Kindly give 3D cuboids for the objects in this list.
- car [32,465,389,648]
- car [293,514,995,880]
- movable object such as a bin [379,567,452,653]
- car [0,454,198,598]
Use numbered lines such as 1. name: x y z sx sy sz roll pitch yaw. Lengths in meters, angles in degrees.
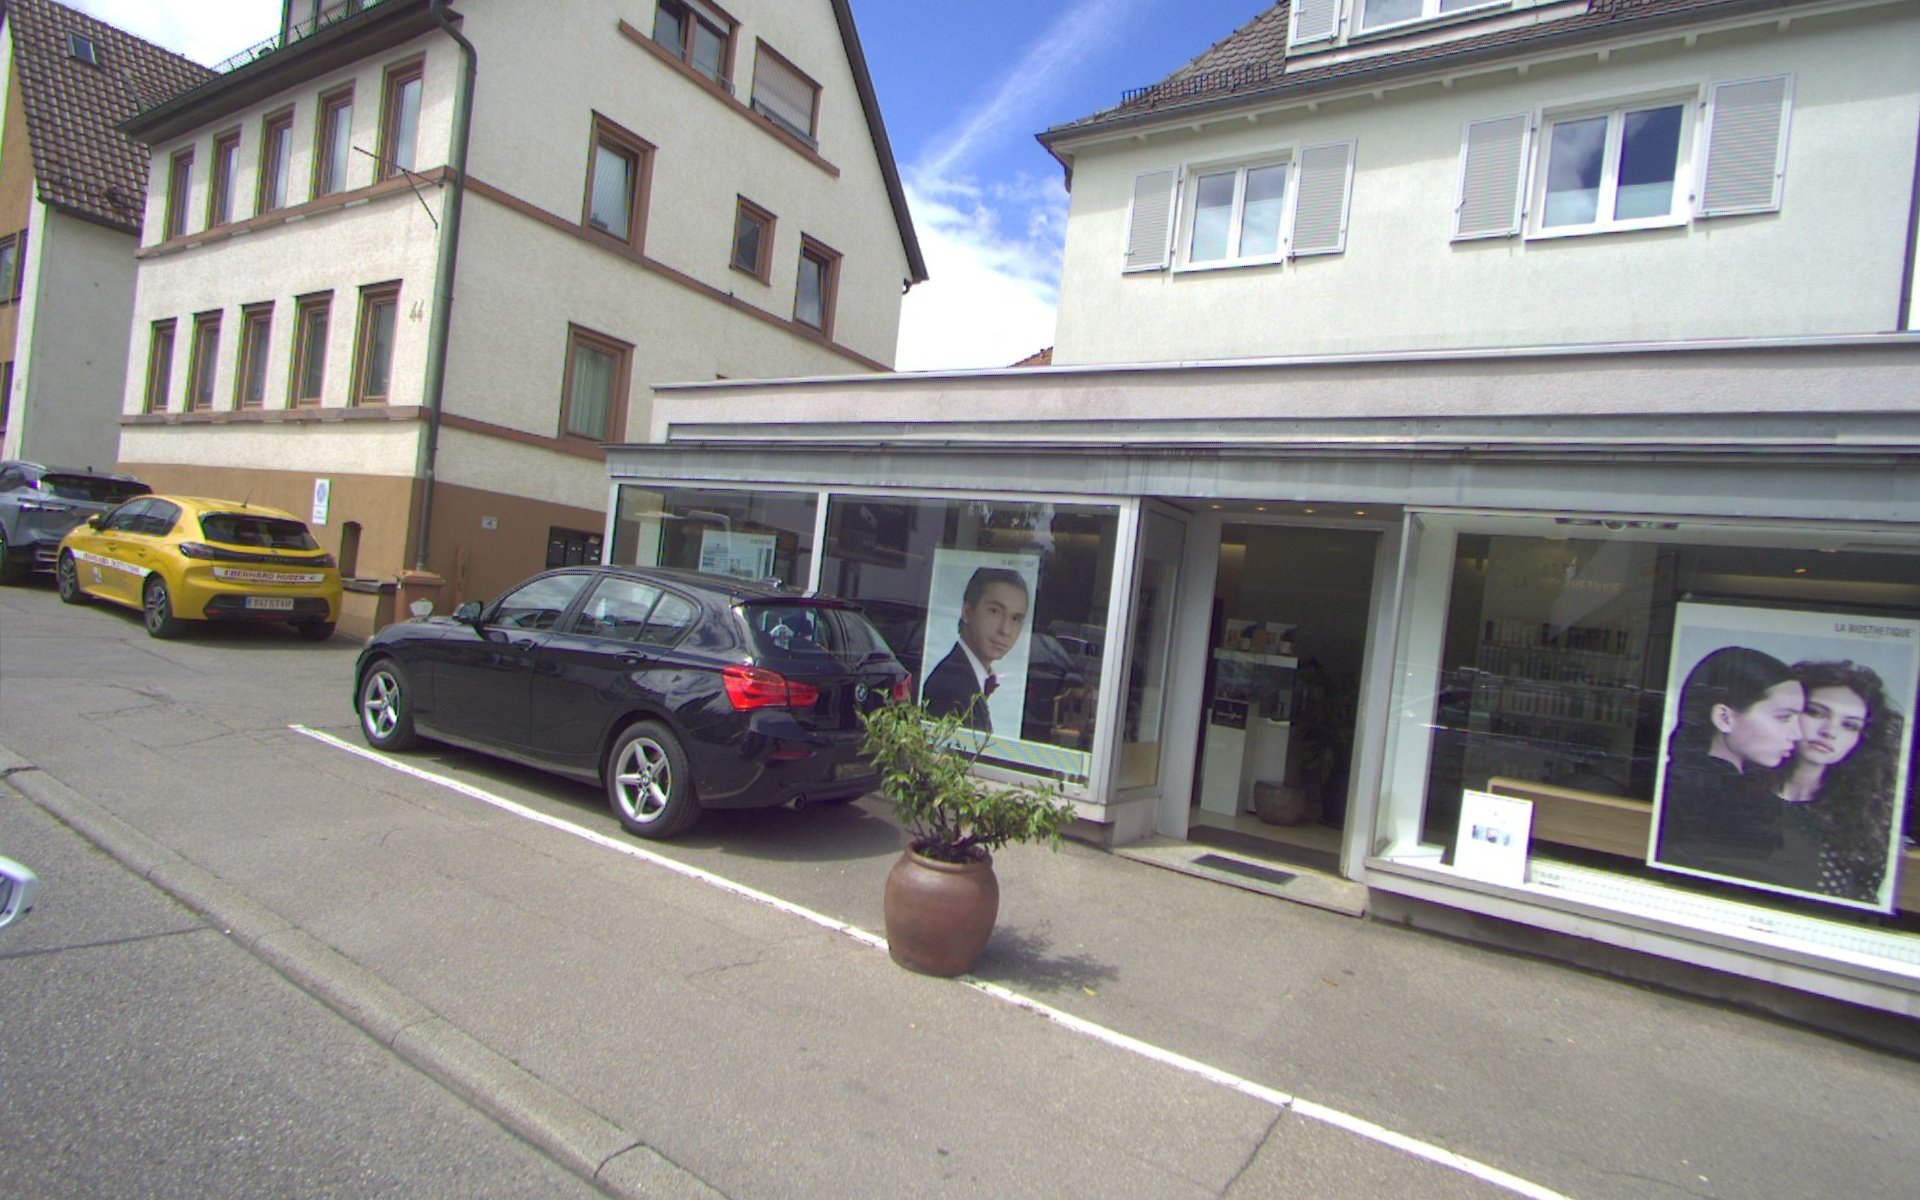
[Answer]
1. car: -8.862 -0.539 11.811 4.235 1.466 1.878 10 2 32
2. car: -2.243 0.413 6.745 4.460 1.466 1.970 7 1 32
3. movable object such as a bin: -6.483 0.120 11.974 0.589 0.936 0.500 7 1 38
4. car: -12.868 -1.126 14.230 4.511 1.633 1.861 7 2 33
